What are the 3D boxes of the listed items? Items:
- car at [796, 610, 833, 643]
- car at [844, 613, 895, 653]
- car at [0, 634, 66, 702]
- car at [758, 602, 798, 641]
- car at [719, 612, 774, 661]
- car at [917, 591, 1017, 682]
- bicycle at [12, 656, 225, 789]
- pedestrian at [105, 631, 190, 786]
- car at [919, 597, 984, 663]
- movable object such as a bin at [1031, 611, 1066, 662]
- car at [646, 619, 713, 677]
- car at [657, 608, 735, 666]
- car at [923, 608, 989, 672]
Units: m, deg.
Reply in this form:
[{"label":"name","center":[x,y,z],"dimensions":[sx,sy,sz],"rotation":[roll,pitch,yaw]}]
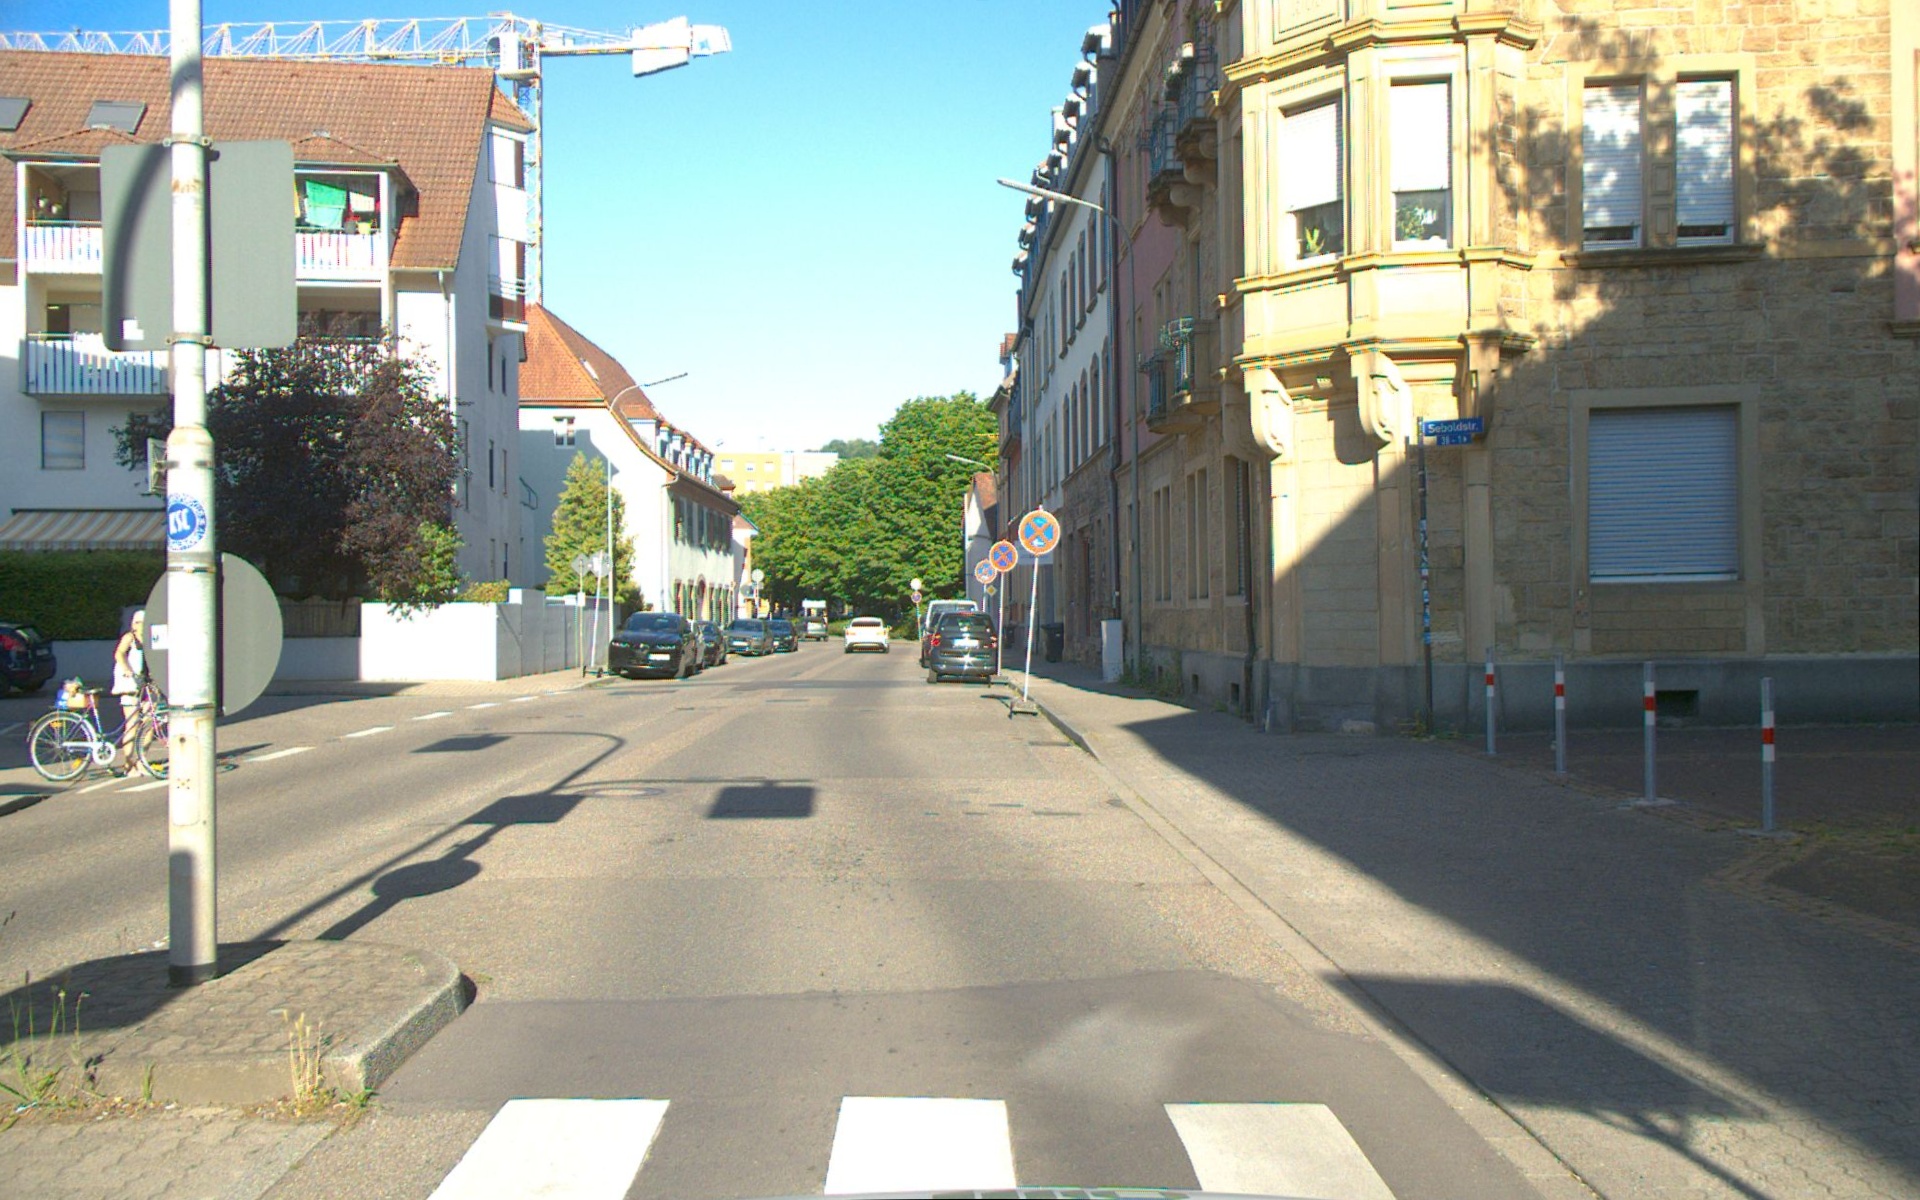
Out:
[{"label":"car","center":[-9.736,1.758,110.293],"dimensions":[1.959,2.049,3.988],"rotation":[-2,0,-12]},{"label":"car","center":[-3.706,1.312,66.985],"dimensions":[1.954,1.492,3.996],"rotation":[-2,0,-5]},{"label":"car","center":[-19.314,1.363,31.625],"dimensions":[3.472,1.201,1.614],"rotation":[-3,1,-6]},{"label":"car","center":[-8.441,0.961,76.901],"dimensions":[1.598,1.659,3.172],"rotation":[-2,1,-3]},{"label":"car","center":[-8.746,1.485,67.970],"dimensions":[1.873,1.790,4.126],"rotation":[-3,1,-3]},{"label":"car","center":[0.090,0.753,36.676],"dimensions":[1.971,1.885,3.997],"rotation":[0,1,-3]},{"label":"bicycle","center":[-8.248,1.186,16.252],"dimensions":[1.750,1.205,0.599],"rotation":[-2,0,-2]},{"label":"pedestrian","center":[-8.144,1.075,16.592],"dimensions":[0.546,1.498,0.601],"rotation":[-2,0,-6]},{"label":"car","center":[-0.308,0.921,53.052],"dimensions":[1.804,1.939,3.998],"rotation":[-2,1,-3]},{"label":"movable object such as a bin","center":[2.546,1.051,47.709],"dimensions":[0.854,1.401,0.684],"rotation":[-3,1,-6]},{"label":"car","center":[-8.061,1.345,47.732],"dimensions":[1.522,1.483,3.059],"rotation":[-2,1,-3]},{"label":"car","center":[-8.527,1.163,53.679],"dimensions":[2.051,1.659,3.819],"rotation":[-3,1,-3]},{"label":"car","center":[-0.099,1.126,48.137],"dimensions":[1.781,1.659,4.000],"rotation":[-2,1,0]}]
